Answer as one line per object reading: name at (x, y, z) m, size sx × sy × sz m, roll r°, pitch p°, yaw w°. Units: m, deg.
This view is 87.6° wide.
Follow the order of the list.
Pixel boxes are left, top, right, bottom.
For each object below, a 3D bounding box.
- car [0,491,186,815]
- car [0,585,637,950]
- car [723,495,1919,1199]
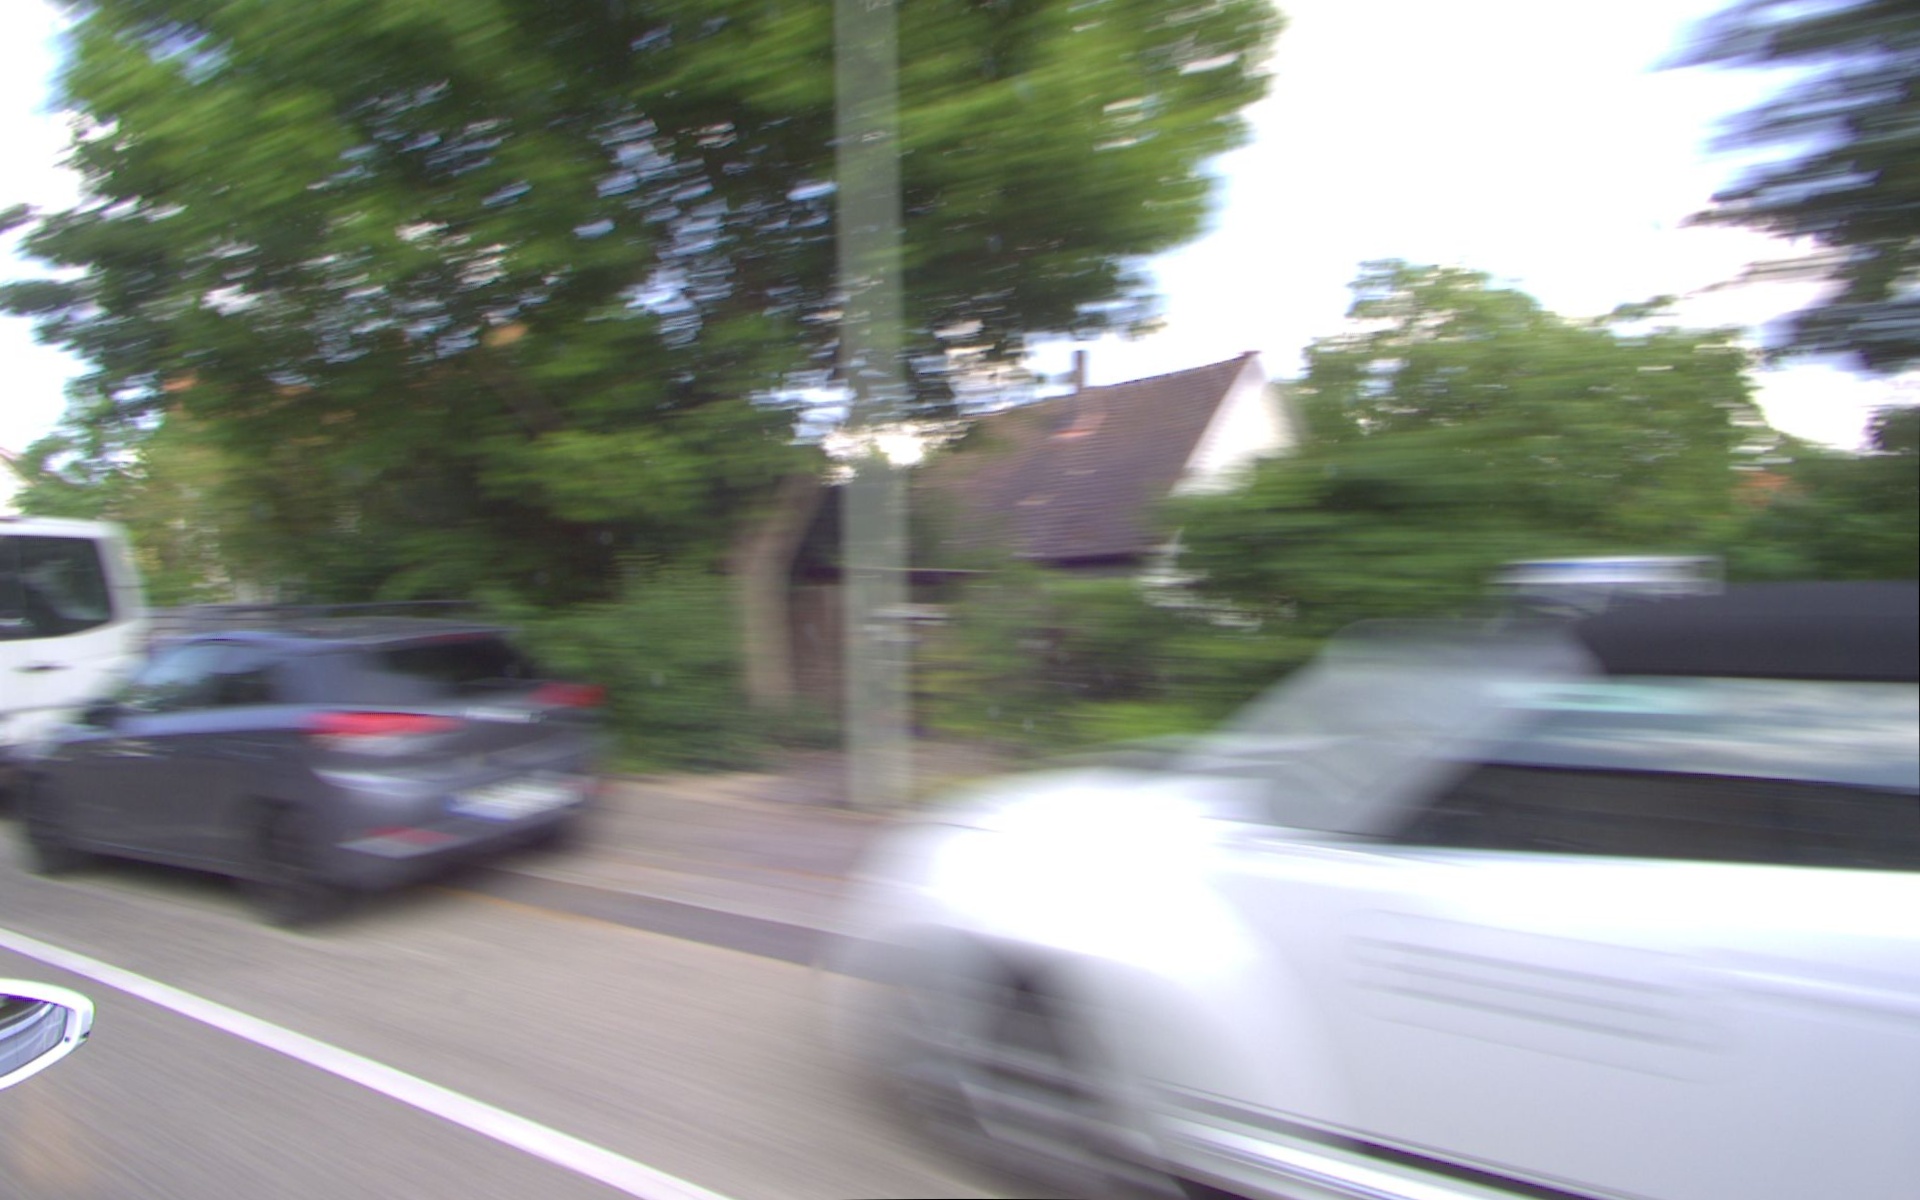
car at (-9.877, 0.464, 9.053) m, size 5.798 × 2.471 × 2.119 m, roll -1°, pitch -2°, yaw 25°
car at (-4.116, 0.811, 6.135) m, size 4.059 × 1.605 × 1.717 m, roll -1°, pitch -2°, yaw 27°
car at (1.599, 0.651, 2.409) m, size 4.398 × 1.531 × 1.736 m, roll -2°, pitch -3°, yaw 35°
